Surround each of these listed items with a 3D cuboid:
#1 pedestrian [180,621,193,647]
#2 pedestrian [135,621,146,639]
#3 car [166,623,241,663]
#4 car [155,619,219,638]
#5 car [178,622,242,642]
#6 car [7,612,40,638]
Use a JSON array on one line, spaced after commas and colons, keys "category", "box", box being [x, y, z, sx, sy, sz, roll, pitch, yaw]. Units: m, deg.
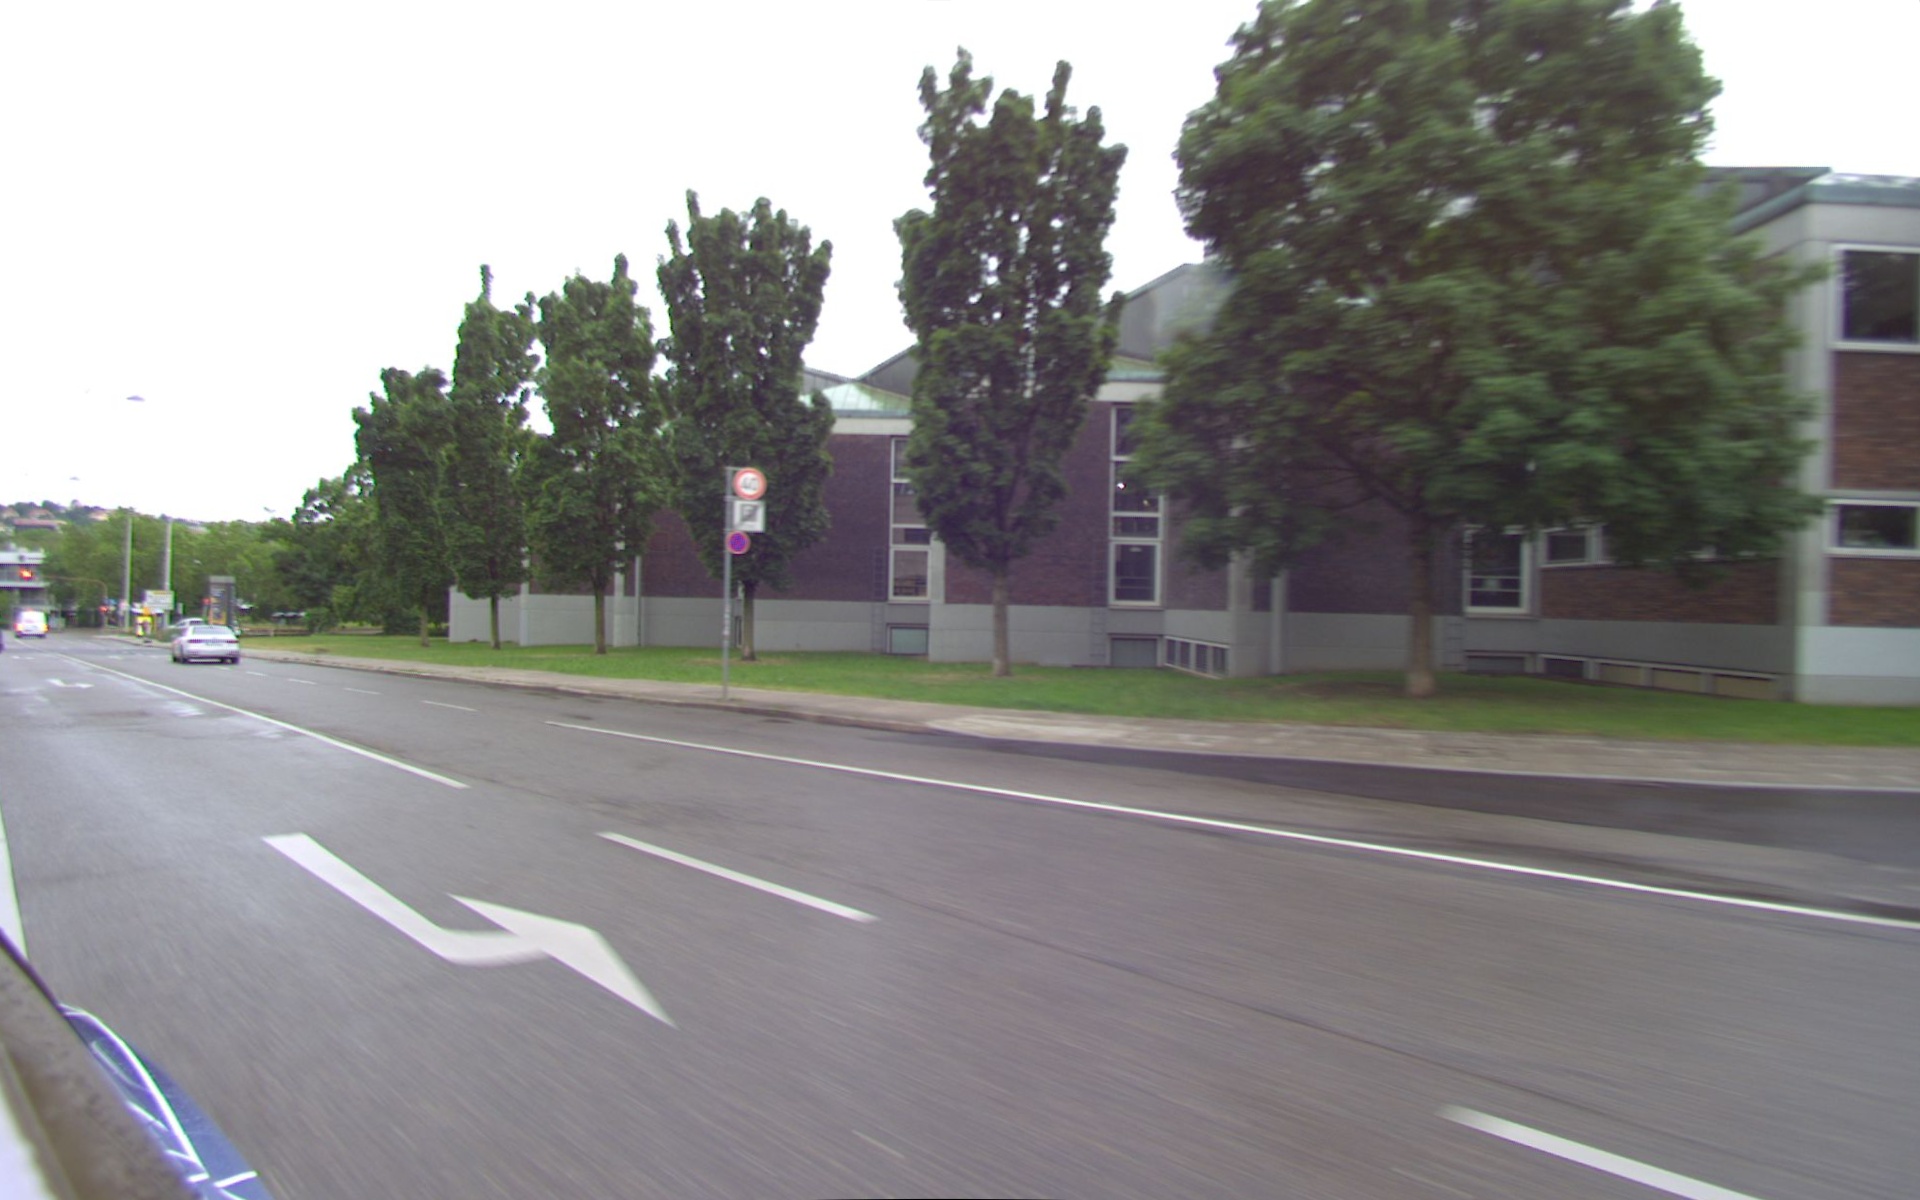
[{"category": "pedestrian", "box": [-51.084, 2.256, 66.831, 0.661, 1.699, 0.915, 0, 0, -38]}, {"category": "pedestrian", "box": [-76.041, 2.778, 93.914, 0.642, 1.708, 0.621, 0, 0, 37]}, {"category": "car", "box": [-30.756, 1.730, 41.074, 1.859, 1.502, 5.225, 4, -4, -42]}, {"category": "car", "box": [-75.392, 2.767, 98.798, 4.653, 1.768, 2.018, 0, 0, -3]}, {"category": "car", "box": [-63.985, 2.694, 86.369, 4.479, 1.622, 1.862, 0, 0, 12]}, {"category": "car", "box": [-92.827, 2.506, 100.261, 5.632, 2.548, 1.961, -1, -3, 43]}]
